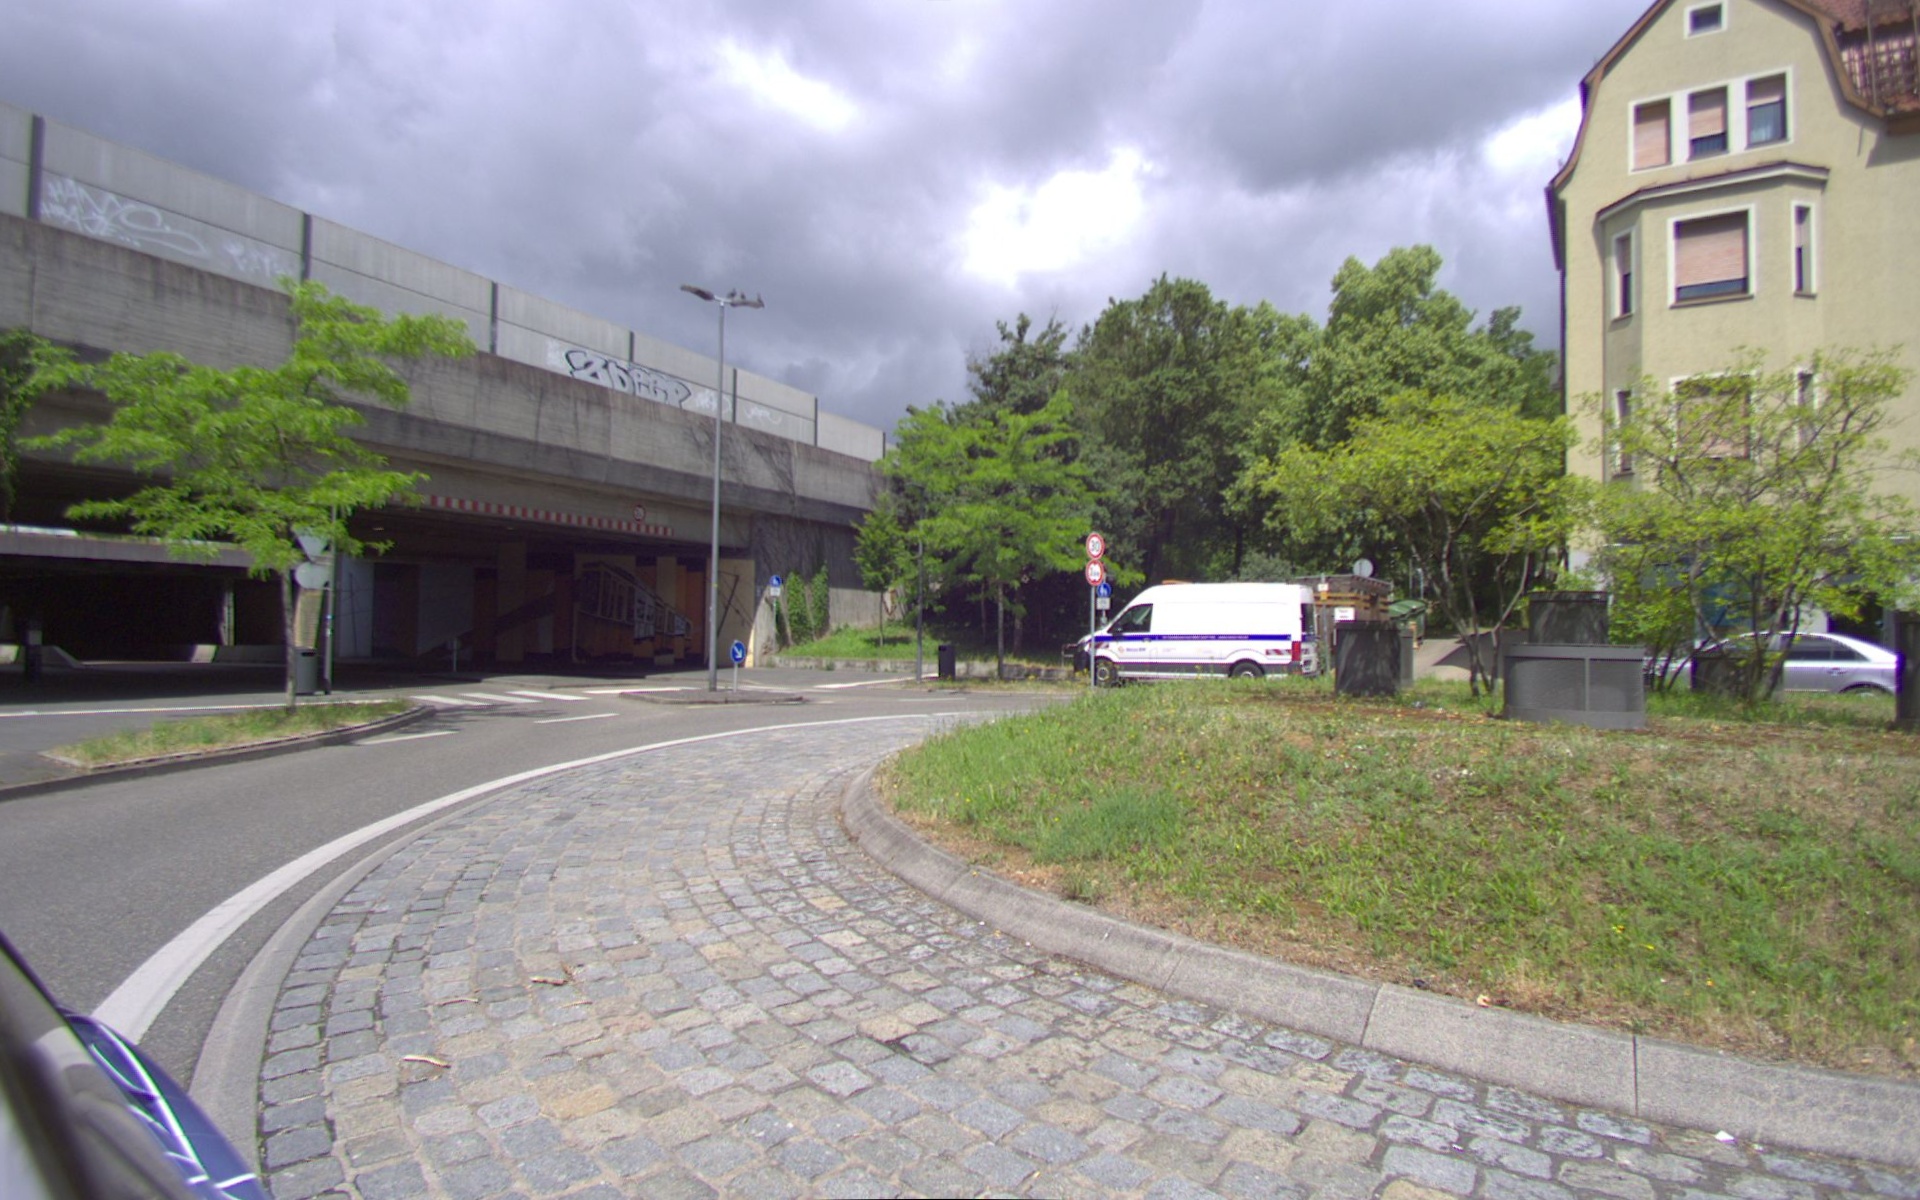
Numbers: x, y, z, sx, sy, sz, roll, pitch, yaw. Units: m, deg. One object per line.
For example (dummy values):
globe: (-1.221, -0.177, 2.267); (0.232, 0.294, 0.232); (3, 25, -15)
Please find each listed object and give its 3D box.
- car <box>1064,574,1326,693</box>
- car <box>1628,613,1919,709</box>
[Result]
car: (5.649, 0.807, 24.670); (5.906, 2.626, 1.954); (-1, -1, 30)
car: (12.996, 0.907, 15.914); (3.997, 1.364, 1.692); (-1, -2, 40)
